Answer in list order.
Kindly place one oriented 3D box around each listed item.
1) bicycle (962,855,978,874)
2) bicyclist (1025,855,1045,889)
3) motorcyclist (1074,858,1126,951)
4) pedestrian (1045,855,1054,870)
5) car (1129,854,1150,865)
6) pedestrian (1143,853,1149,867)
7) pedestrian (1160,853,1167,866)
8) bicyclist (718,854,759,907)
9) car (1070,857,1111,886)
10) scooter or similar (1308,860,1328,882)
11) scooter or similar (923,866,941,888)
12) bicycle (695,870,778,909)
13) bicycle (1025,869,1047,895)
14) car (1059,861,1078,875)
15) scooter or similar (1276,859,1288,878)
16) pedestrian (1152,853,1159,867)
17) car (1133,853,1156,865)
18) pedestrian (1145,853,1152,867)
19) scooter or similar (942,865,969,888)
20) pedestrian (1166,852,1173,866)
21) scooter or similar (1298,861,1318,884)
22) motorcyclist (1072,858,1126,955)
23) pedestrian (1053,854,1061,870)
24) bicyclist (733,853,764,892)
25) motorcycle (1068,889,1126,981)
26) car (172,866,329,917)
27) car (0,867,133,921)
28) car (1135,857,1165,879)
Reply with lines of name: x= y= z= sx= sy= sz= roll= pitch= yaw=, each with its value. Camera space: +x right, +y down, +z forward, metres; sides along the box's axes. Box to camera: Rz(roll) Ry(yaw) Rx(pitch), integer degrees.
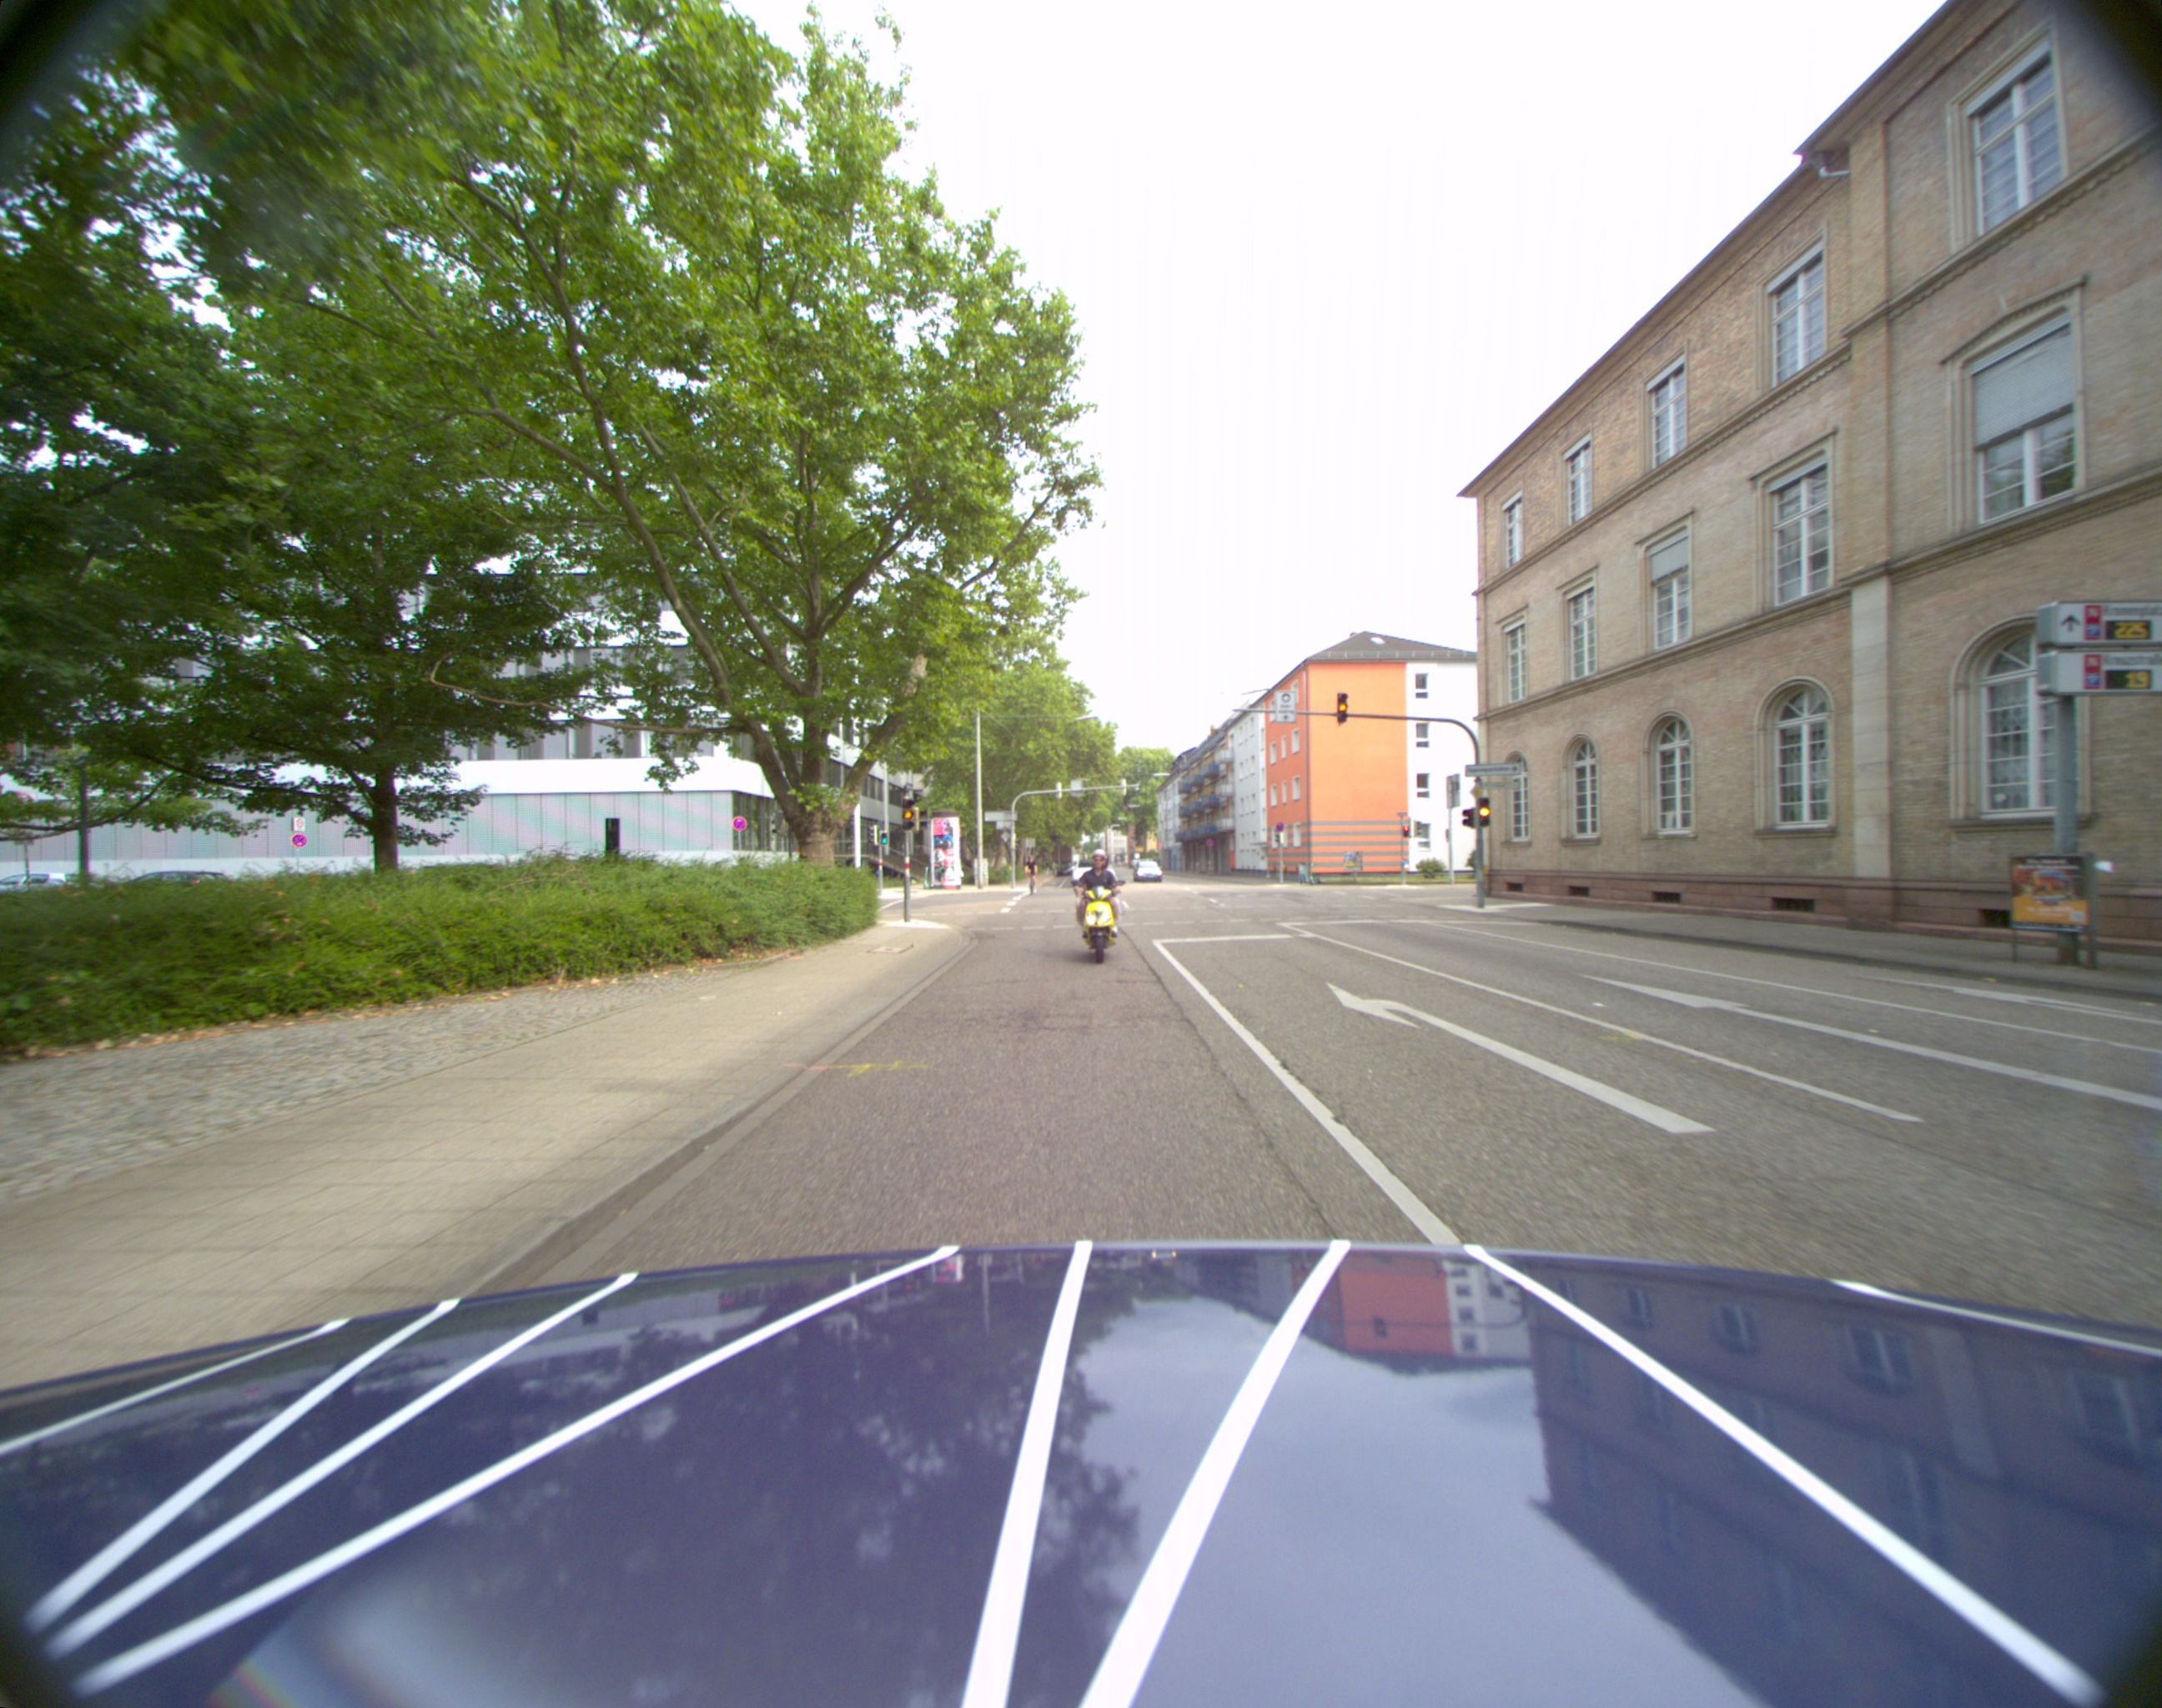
bicycle: x=-7.136 y=0.697 z=48.973 sx=0.700 sy=1.162 sz=1.725 roll=-3 pitch=0 yaw=0
bicyclist: x=-1.986 y=0.767 z=33.231 sx=0.784 sy=1.438 sz=0.914 roll=-3 pitch=0 yaw=-2
motorcyclist: x=0.308 y=0.770 z=11.979 sx=0.781 sy=1.419 sz=0.689 roll=-1 pitch=0 yaw=2
pedestrian: x=-4.208 y=1.098 z=100.717 sx=1.003 sy=2.002 sz=0.997 roll=-3 pitch=0 yaw=2
car: x=11.502 y=1.157 z=149.176 sx=3.997 sy=2.002 sz=2.000 roll=-3 pitch=0 yaw=-1
pedestrian: x=9.973 y=0.929 z=116.415 sx=0.842 sy=2.002 sz=0.875 roll=-3 pitch=0 yaw=4
pedestrian: x=12.286 y=0.800 z=113.084 sx=0.842 sy=2.002 sz=0.875 roll=-3 pitch=0 yaw=4
bicyclist: x=-11.097 y=0.859 z=24.667 sx=0.831 sy=1.668 sz=0.916 roll=-1 pitch=1 yaw=5
car: x=0.633 y=1.003 z=45.480 sx=1.998 sy=1.543 sz=4.523 roll=-3 pitch=0 yaw=6
scooter or similar: x=12.683 y=0.928 z=40.711 sx=0.330 sy=1.151 sz=1.352 roll=-3 pitch=0 yaw=-13
scooter or similar: x=-7.801 y=1.187 z=39.735 sx=0.473 sy=1.131 sz=1.307 roll=1 pitch=0 yaw=-34
bicycle: x=-11.136 y=1.140 z=24.603 sx=2.249 sy=1.165 sz=0.916 roll=-1 pitch=1 yaw=5
bicycle: x=-1.949 y=1.195 z=33.092 sx=0.771 sy=1.009 sz=2.407 roll=-4 pitch=0 yaw=0
car: x=-1.427 y=1.614 z=89.592 sx=1.998 sy=1.532 sz=4.272 roll=-3 pitch=0 yaw=2
scooter or similar: x=12.470 y=0.887 z=47.189 sx=0.369 sy=1.117 sz=1.354 roll=-3 pitch=0 yaw=1
pedestrian: x=11.049 y=0.854 z=112.860 sx=0.842 sy=2.002 sz=0.875 roll=-3 pitch=0 yaw=4
car: x=11.502 y=0.834 z=137.366 sx=3.997 sy=2.002 sz=2.000 roll=-3 pitch=0 yaw=-1
pedestrian: x=10.266 y=0.909 z=115.590 sx=0.842 sy=2.002 sz=0.875 roll=-3 pitch=0 yaw=4
scooter or similar: x=-6.568 y=1.179 z=39.690 sx=1.309 sy=1.202 sz=0.344 roll=1 pitch=0 yaw=5
pedestrian: x=13.174 y=0.760 z=113.204 sx=0.842 sy=2.002 sz=0.875 roll=-3 pitch=0 yaw=4
scooter or similar: x=12.064 y=0.968 z=40.420 sx=0.330 sy=1.172 sz=1.341 roll=-3 pitch=0 yaw=-13
motorcyclist: x=0.275 y=0.777 z=11.525 sx=0.781 sy=1.419 sz=0.764 roll=-1 pitch=0 yaw=2
pedestrian: x=-3.188 y=1.078 z=100.670 sx=1.003 sy=2.002 sz=0.997 roll=-3 pitch=0 yaw=2
bicyclist: x=-13.800 y=0.760 z=31.558 sx=0.800 sy=1.574 sz=0.774 roll=-3 pitch=0 yaw=4
motorcycle: x=0.259 y=1.159 z=11.373 sx=0.781 sy=1.171 sz=1.993 roll=-1 pitch=0 yaw=2
car: x=-34.687 y=1.539 z=31.849 sx=4.000 sy=1.849 sz=1.999 roll=-3 pitch=0 yaw=-9
car: x=-41.999 y=1.622 z=30.859 sx=4.000 sy=2.002 sz=1.999 roll=-3 pitch=0 yaw=-9
car: x=4.699 y=0.934 z=52.182 sx=1.673 sy=1.430 sz=3.820 roll=-1 pitch=0 yaw=-1
